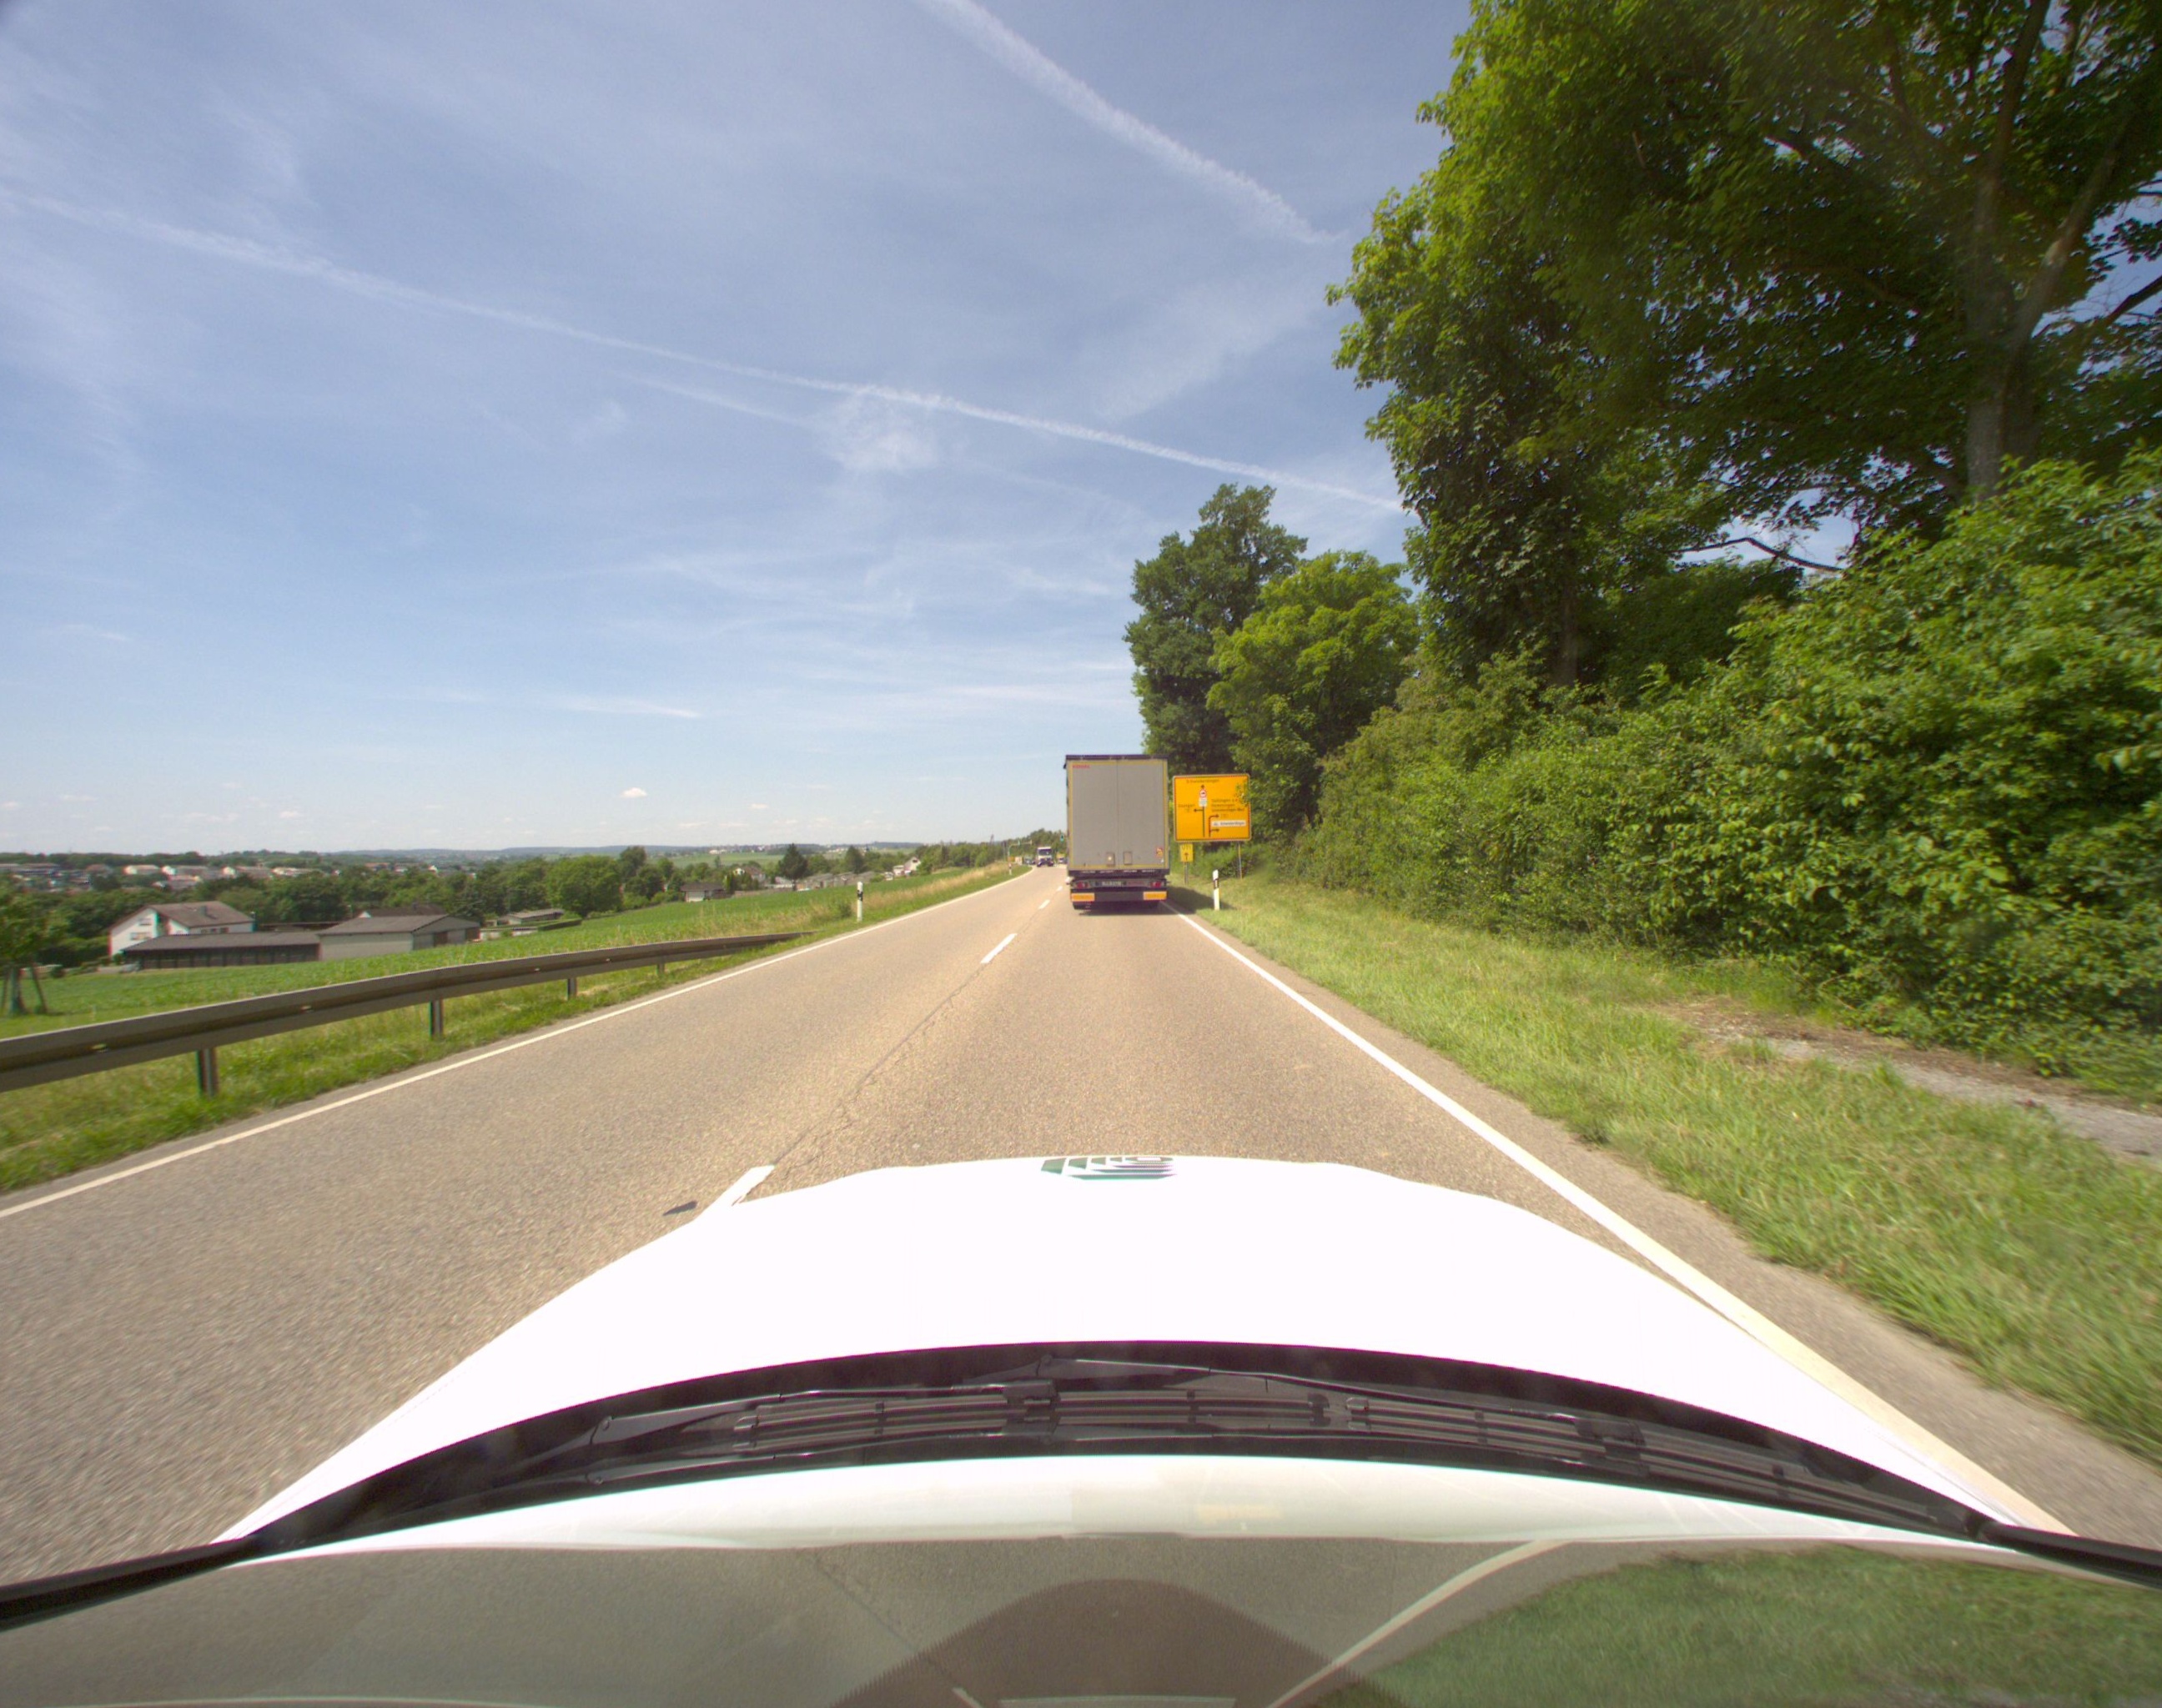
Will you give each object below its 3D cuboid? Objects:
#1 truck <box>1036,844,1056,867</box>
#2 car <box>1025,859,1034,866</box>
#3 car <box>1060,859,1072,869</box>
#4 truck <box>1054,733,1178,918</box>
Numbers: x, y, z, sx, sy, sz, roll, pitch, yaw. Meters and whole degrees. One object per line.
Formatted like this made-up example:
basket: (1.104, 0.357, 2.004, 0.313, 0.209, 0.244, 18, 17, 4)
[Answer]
truck: (-5.846, 0.311, 134.260, 2.751, 3.576, 11.047, -4, -1, -4)
car: (-14.046, 2.325, 222.375, 1.991, 1.950, 4.493, -4, 0, -6)
car: (-3.407, 2.303, 183.609, 2.167, 2.013, 4.519, -4, 0, -4)
truck: (0.760, -0.678, 24.053, 2.899, 4.410, 8.855, -1, 0, -1)
